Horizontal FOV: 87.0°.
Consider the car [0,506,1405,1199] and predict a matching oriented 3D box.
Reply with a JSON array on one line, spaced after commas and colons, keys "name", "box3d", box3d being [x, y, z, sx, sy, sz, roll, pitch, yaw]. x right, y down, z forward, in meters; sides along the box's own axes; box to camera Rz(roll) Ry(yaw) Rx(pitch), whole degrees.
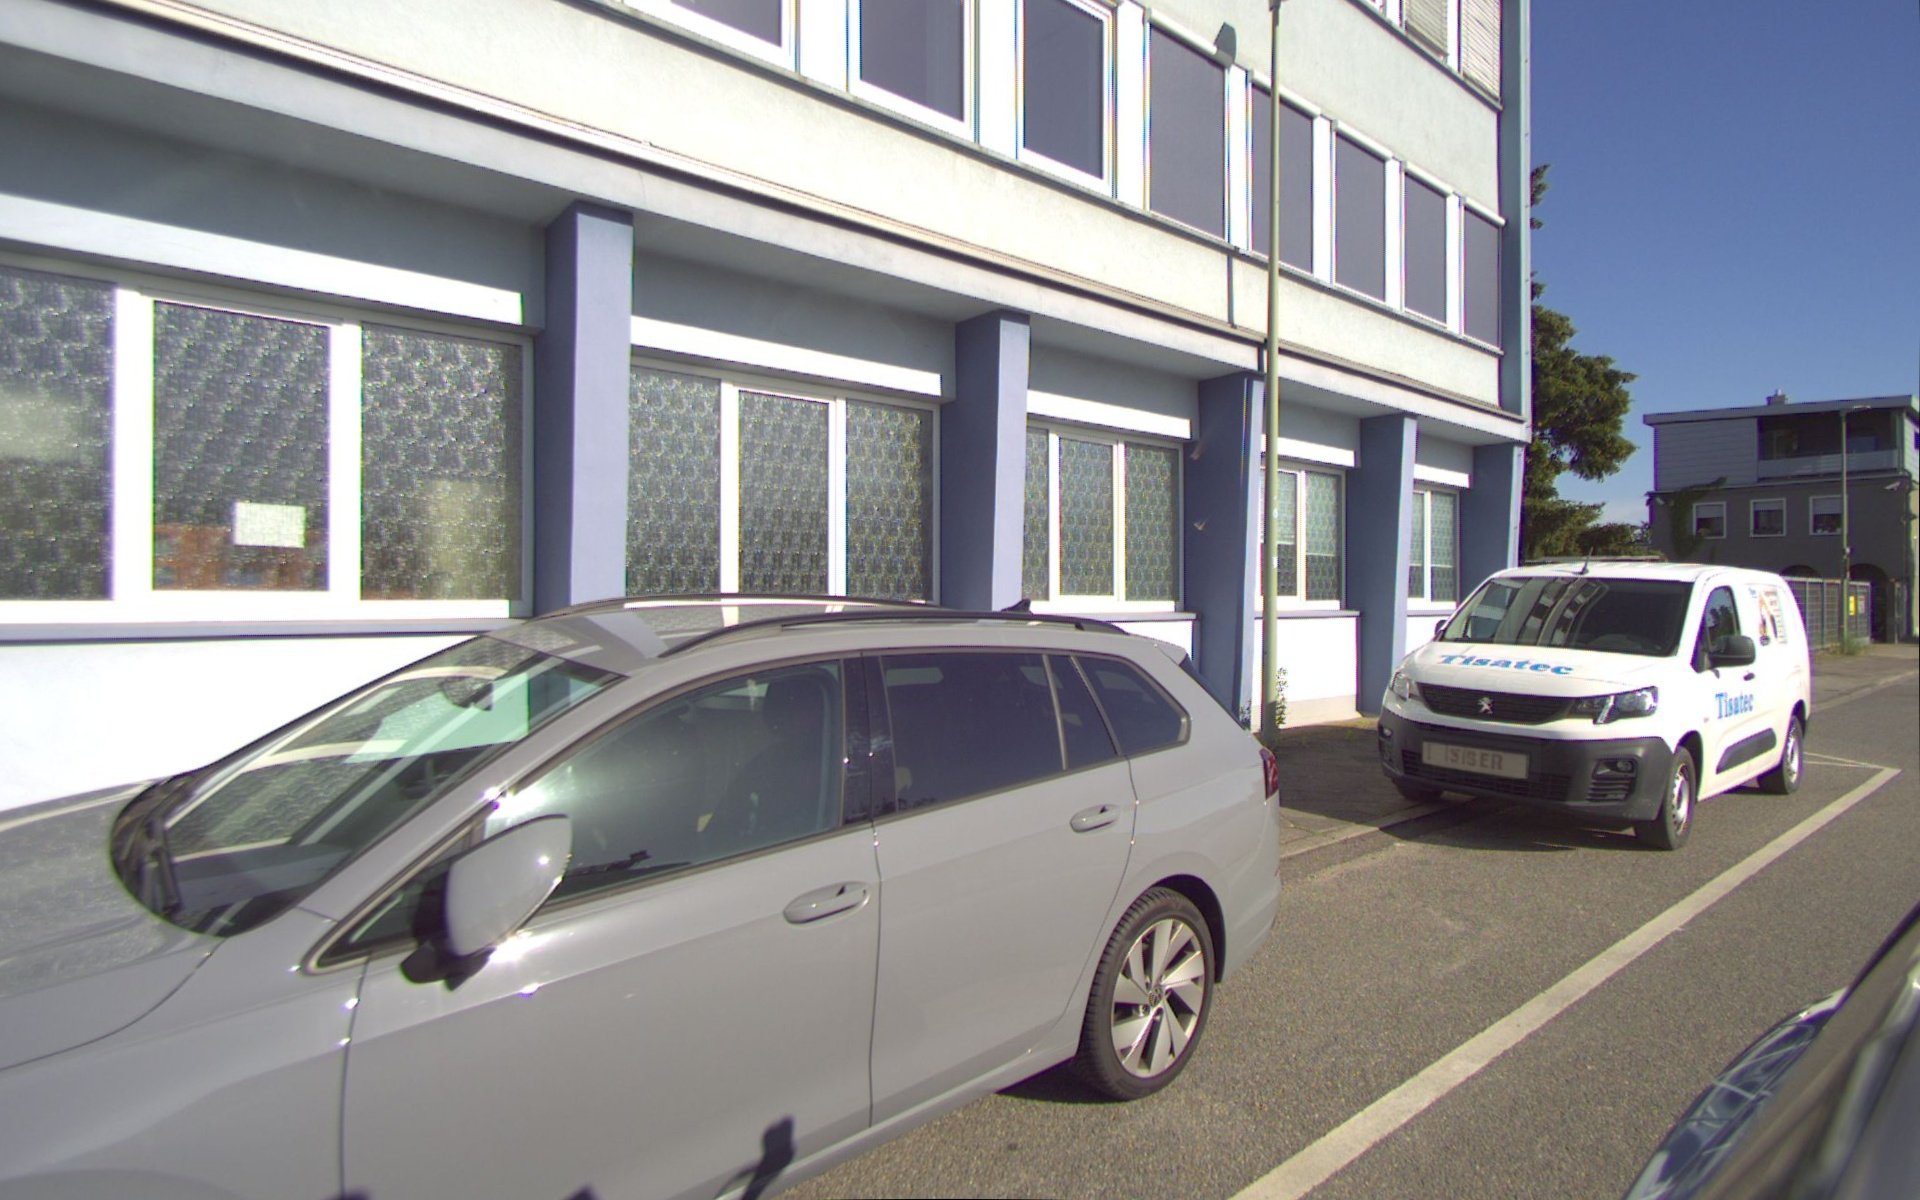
[{"name": "car", "box3d": [-0.765, 0.669, 2.999, 5.002, 1.580, 1.892, -1, -1, -42]}]

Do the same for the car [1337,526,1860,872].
[{"name": "car", "box3d": [5.117, 0.520, 7.771, 4.999, 1.855, 1.893, -1, -1, -39]}]
